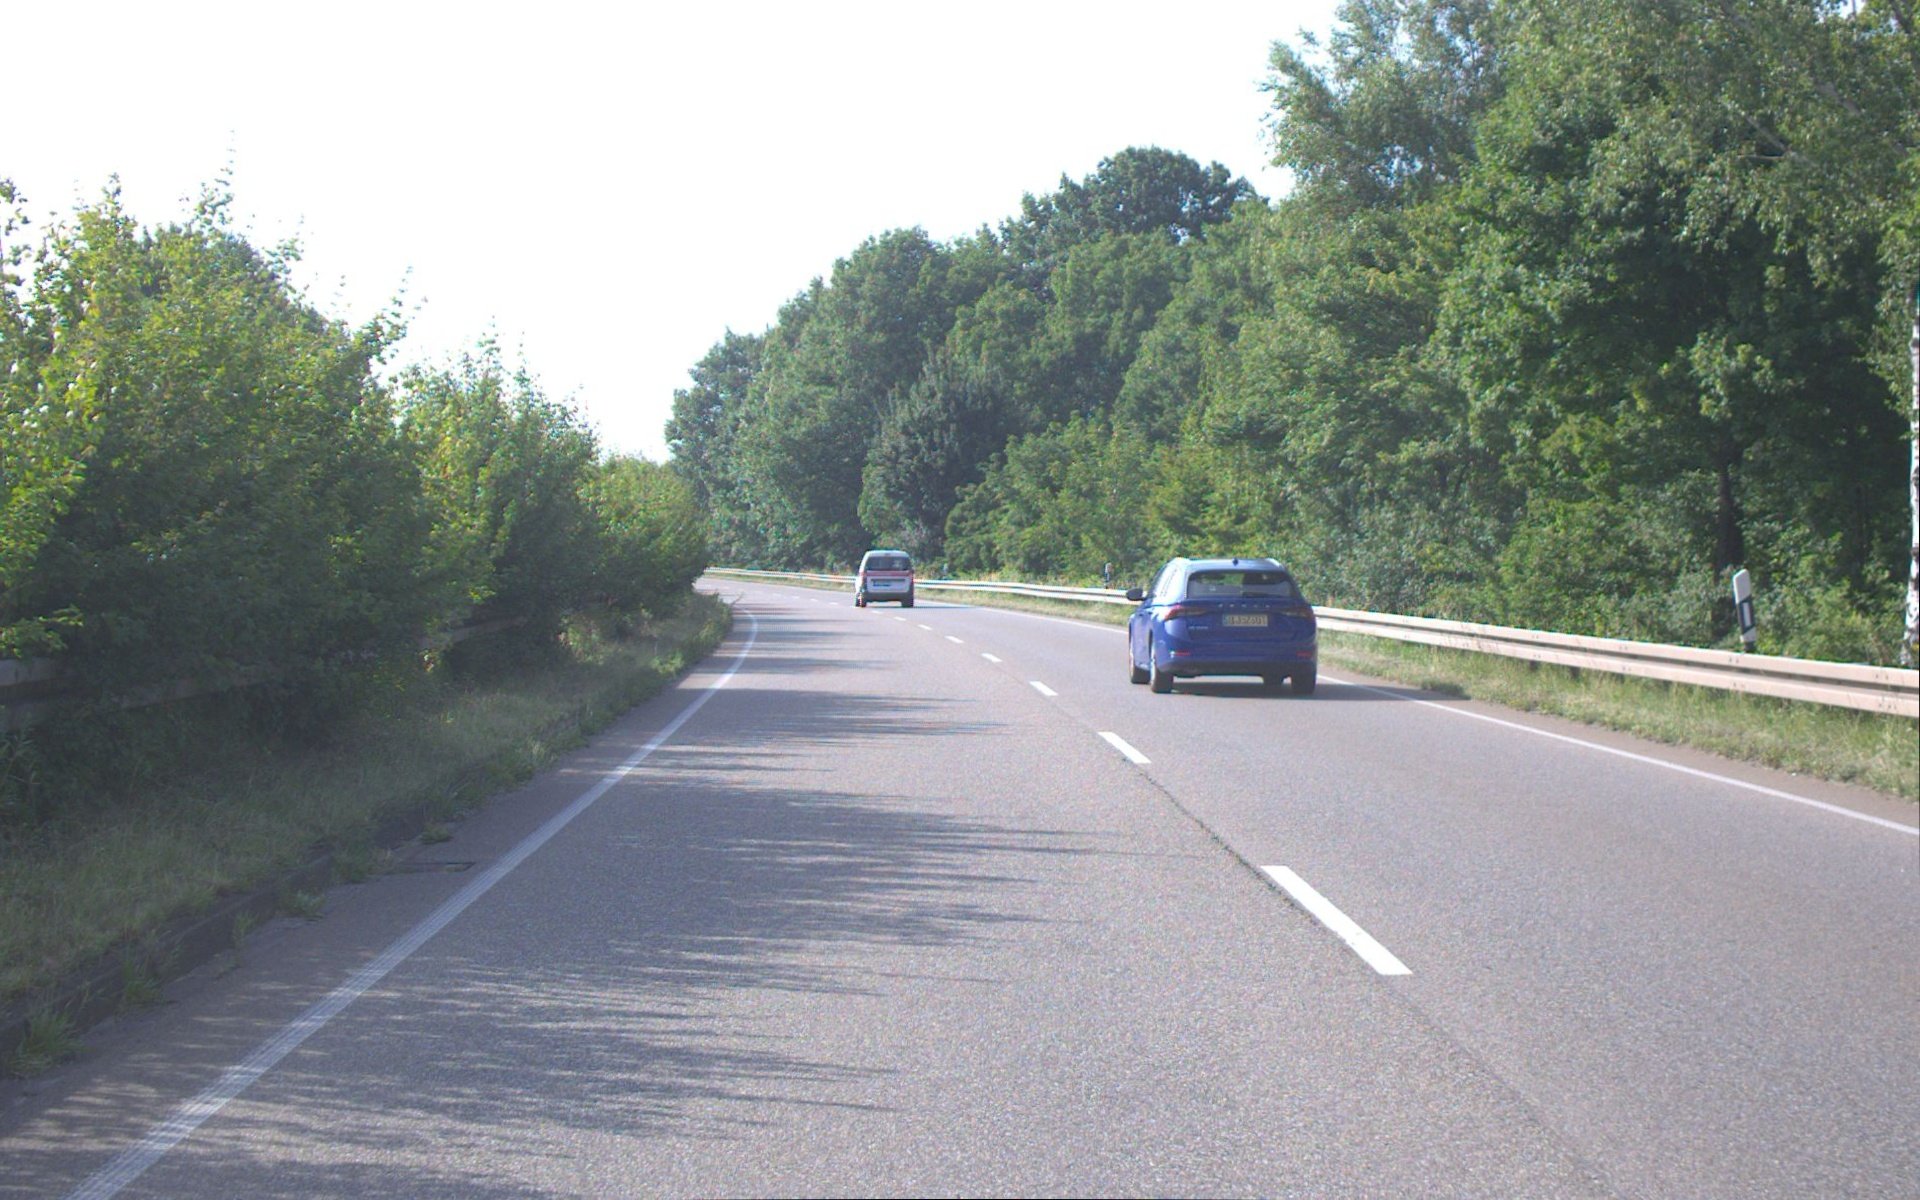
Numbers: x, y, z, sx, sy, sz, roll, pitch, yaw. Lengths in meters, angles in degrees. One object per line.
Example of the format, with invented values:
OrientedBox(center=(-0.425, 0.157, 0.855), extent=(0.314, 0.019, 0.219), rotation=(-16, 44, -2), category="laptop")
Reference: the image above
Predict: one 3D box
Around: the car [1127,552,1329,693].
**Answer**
OrientedBox(center=(2.889, 0.205, 37.758), extent=(1.779, 1.446, 4.000), rotation=(1, 1, -2), category="car")

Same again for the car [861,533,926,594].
OrientedBox(center=(-2.143, -1.190, 109.780), extent=(1.765, 1.875, 4.001), rotation=(0, 1, -5), category="car")
